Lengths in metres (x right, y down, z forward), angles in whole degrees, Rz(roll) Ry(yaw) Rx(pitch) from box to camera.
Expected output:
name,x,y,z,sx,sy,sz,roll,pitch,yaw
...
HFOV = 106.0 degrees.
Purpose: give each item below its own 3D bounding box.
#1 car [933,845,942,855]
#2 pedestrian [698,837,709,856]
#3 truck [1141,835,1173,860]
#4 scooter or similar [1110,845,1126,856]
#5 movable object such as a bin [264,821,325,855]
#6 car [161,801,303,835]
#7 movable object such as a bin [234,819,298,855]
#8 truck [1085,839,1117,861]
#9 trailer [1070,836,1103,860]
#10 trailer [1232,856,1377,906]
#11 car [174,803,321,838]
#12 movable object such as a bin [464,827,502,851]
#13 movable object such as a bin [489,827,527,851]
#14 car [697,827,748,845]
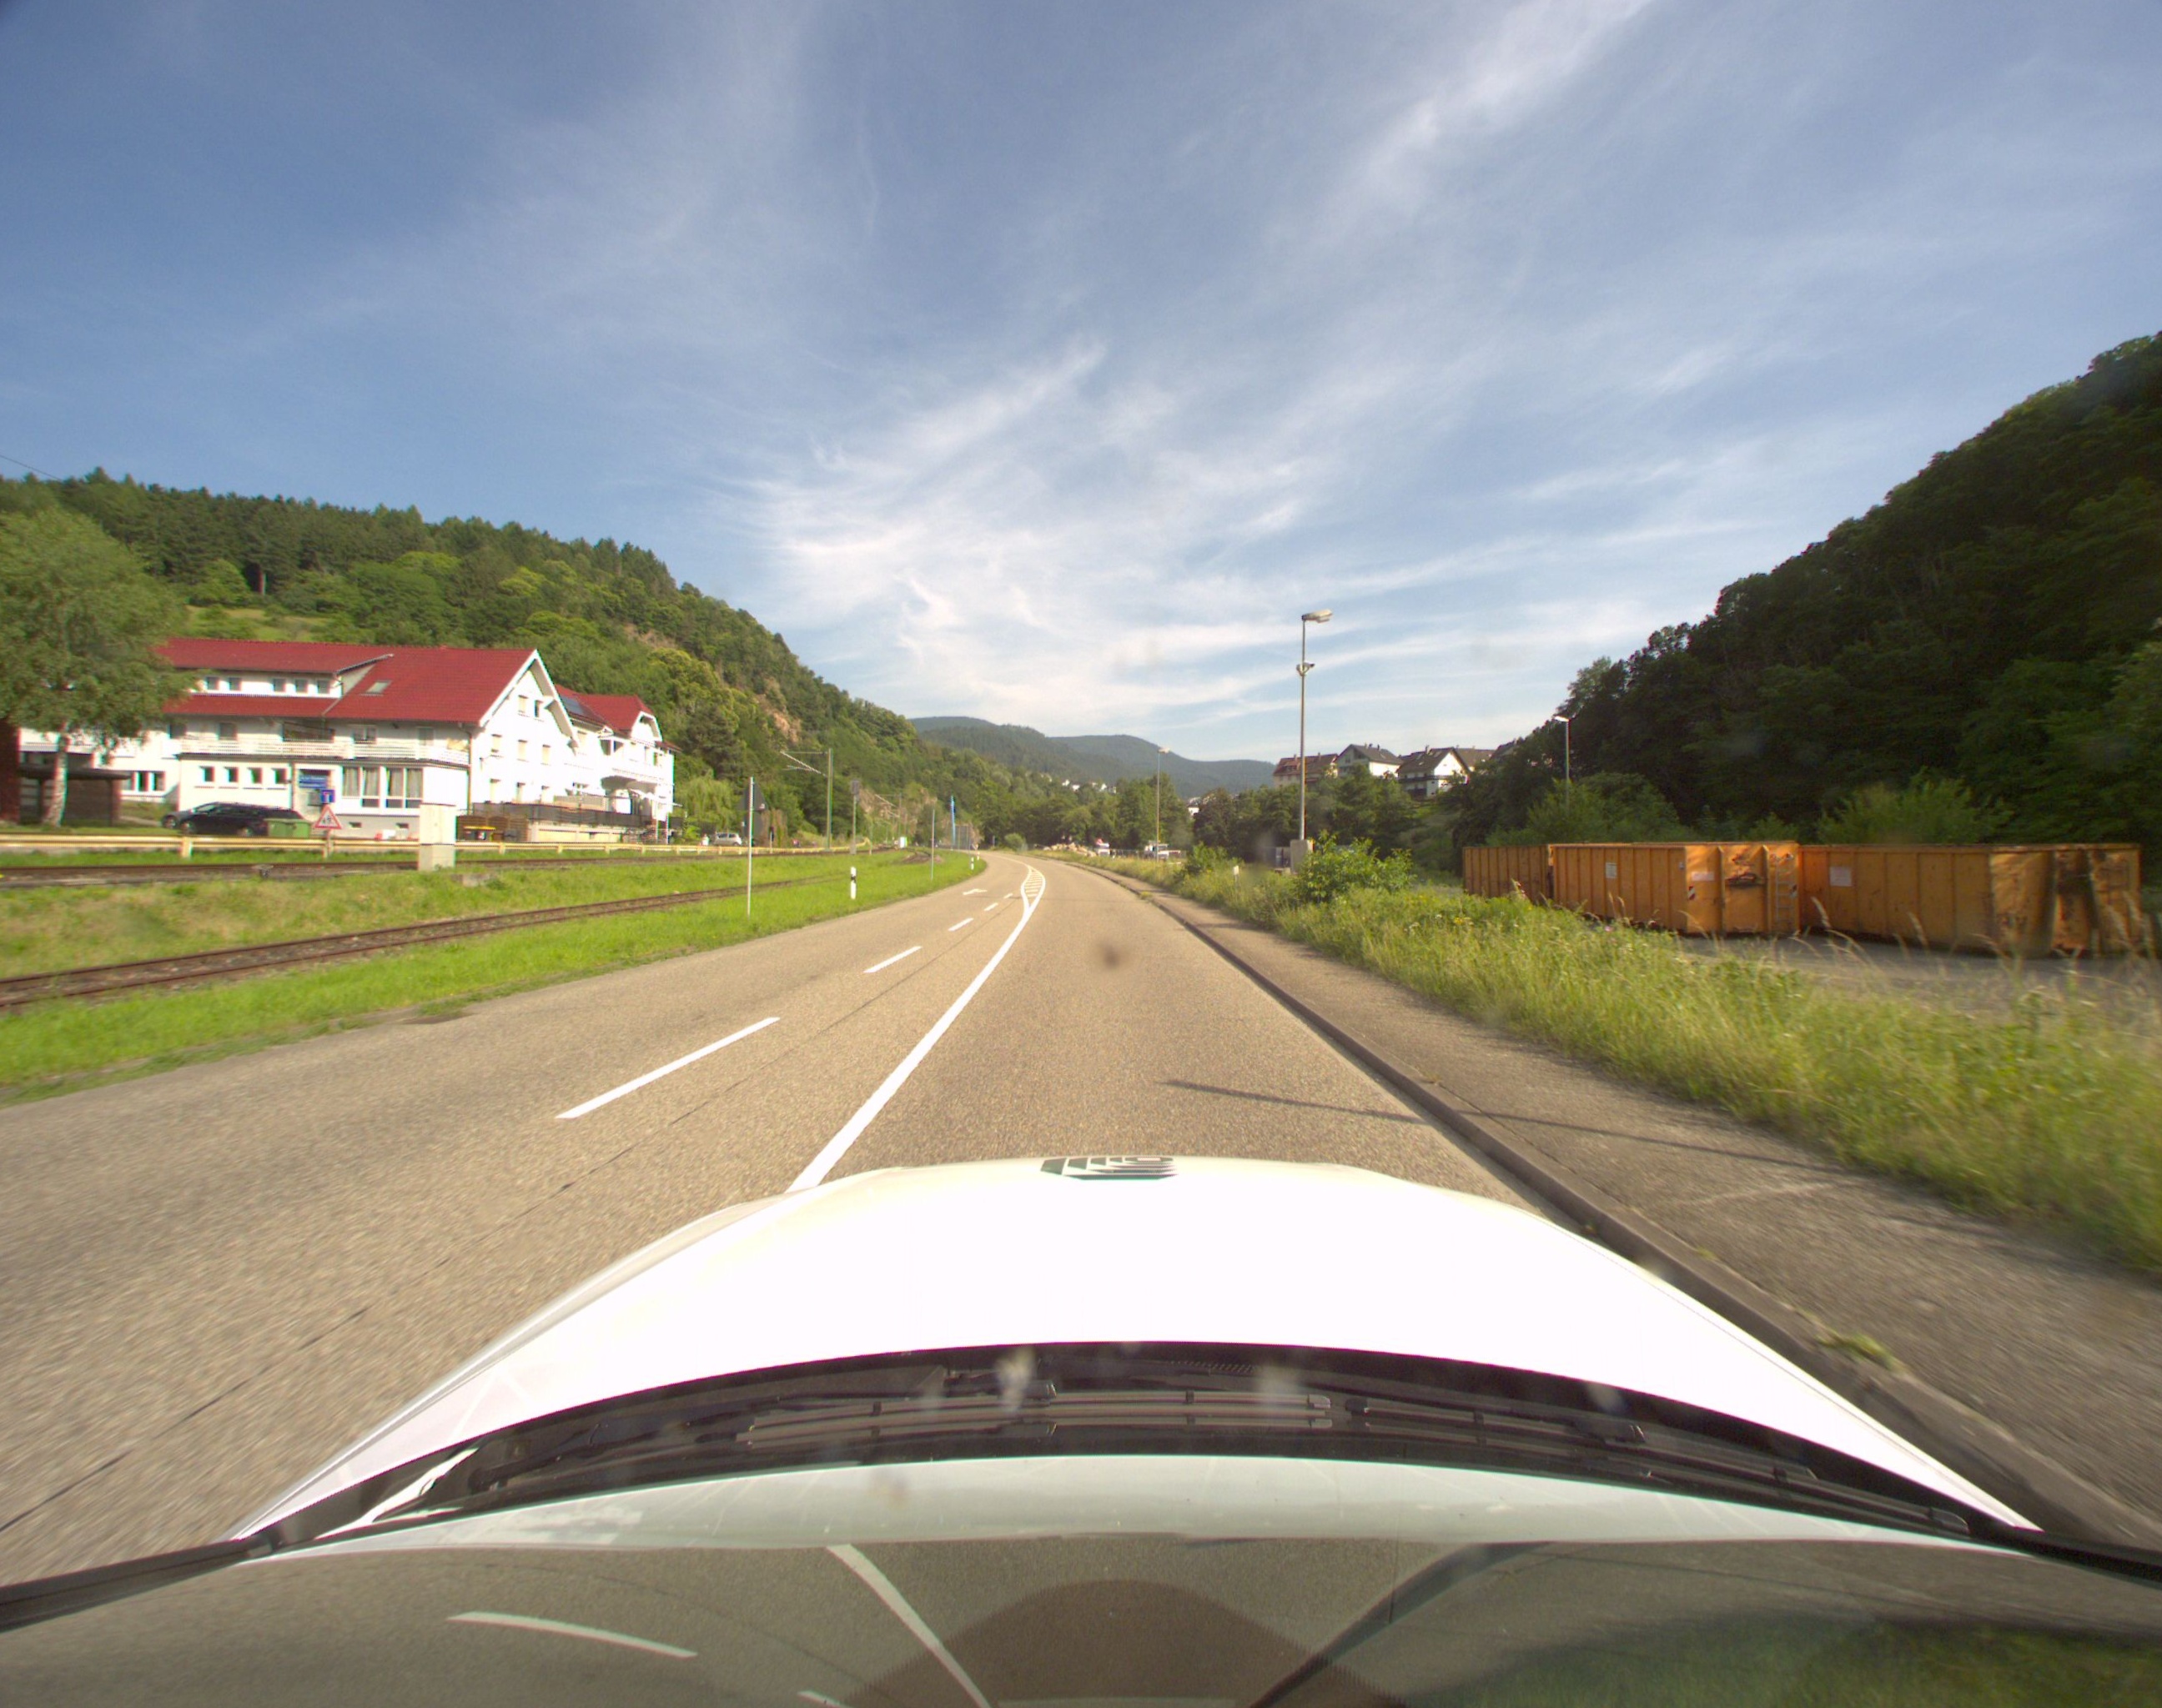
name,x,y,z,sx,sy,sz,roll,pitch,yaw
car,-38.215,-1.037,216.399,2.128,2.615,5.459,-1,1,-11
pedestrian,-31.985,-0.608,69.064,0.606,1.616,0.676,2,0,-6
truck,12.130,-1.017,131.134,3.101,3.782,8.620,2,0,-8
scooter or similar,6.682,-0.638,147.486,1.996,2.013,3.981,0,1,-14
movable object such as a bin,-28.874,-0.575,29.925,1.139,1.192,1.090,2,0,-9
car,-37.427,-1.570,35.991,4.243,1.329,1.753,1,0,-3
movable object such as a bin,-28.708,-0.591,28.707,1.139,1.192,1.090,2,0,-9
truck,3.535,-0.829,147.893,3.110,3.782,8.595,2,0,-17
trailer,0.988,-1.154,156.737,3.373,4.274,9.852,2,0,-17
trailer,8.635,0.937,33.071,2.785,1.474,9.879,3,0,-2
car,-33.926,-1.329,33.228,4.084,1.270,1.735,1,0,-2
movable object such as a bin,-30.286,-0.764,41.249,1.087,1.192,1.142,2,0,-4
movable object such as a bin,-29.130,-0.768,41.429,1.087,1.192,1.142,2,0,-4
car,-35.179,-1.748,80.051,4.137,1.691,1.997,1,0,-4
